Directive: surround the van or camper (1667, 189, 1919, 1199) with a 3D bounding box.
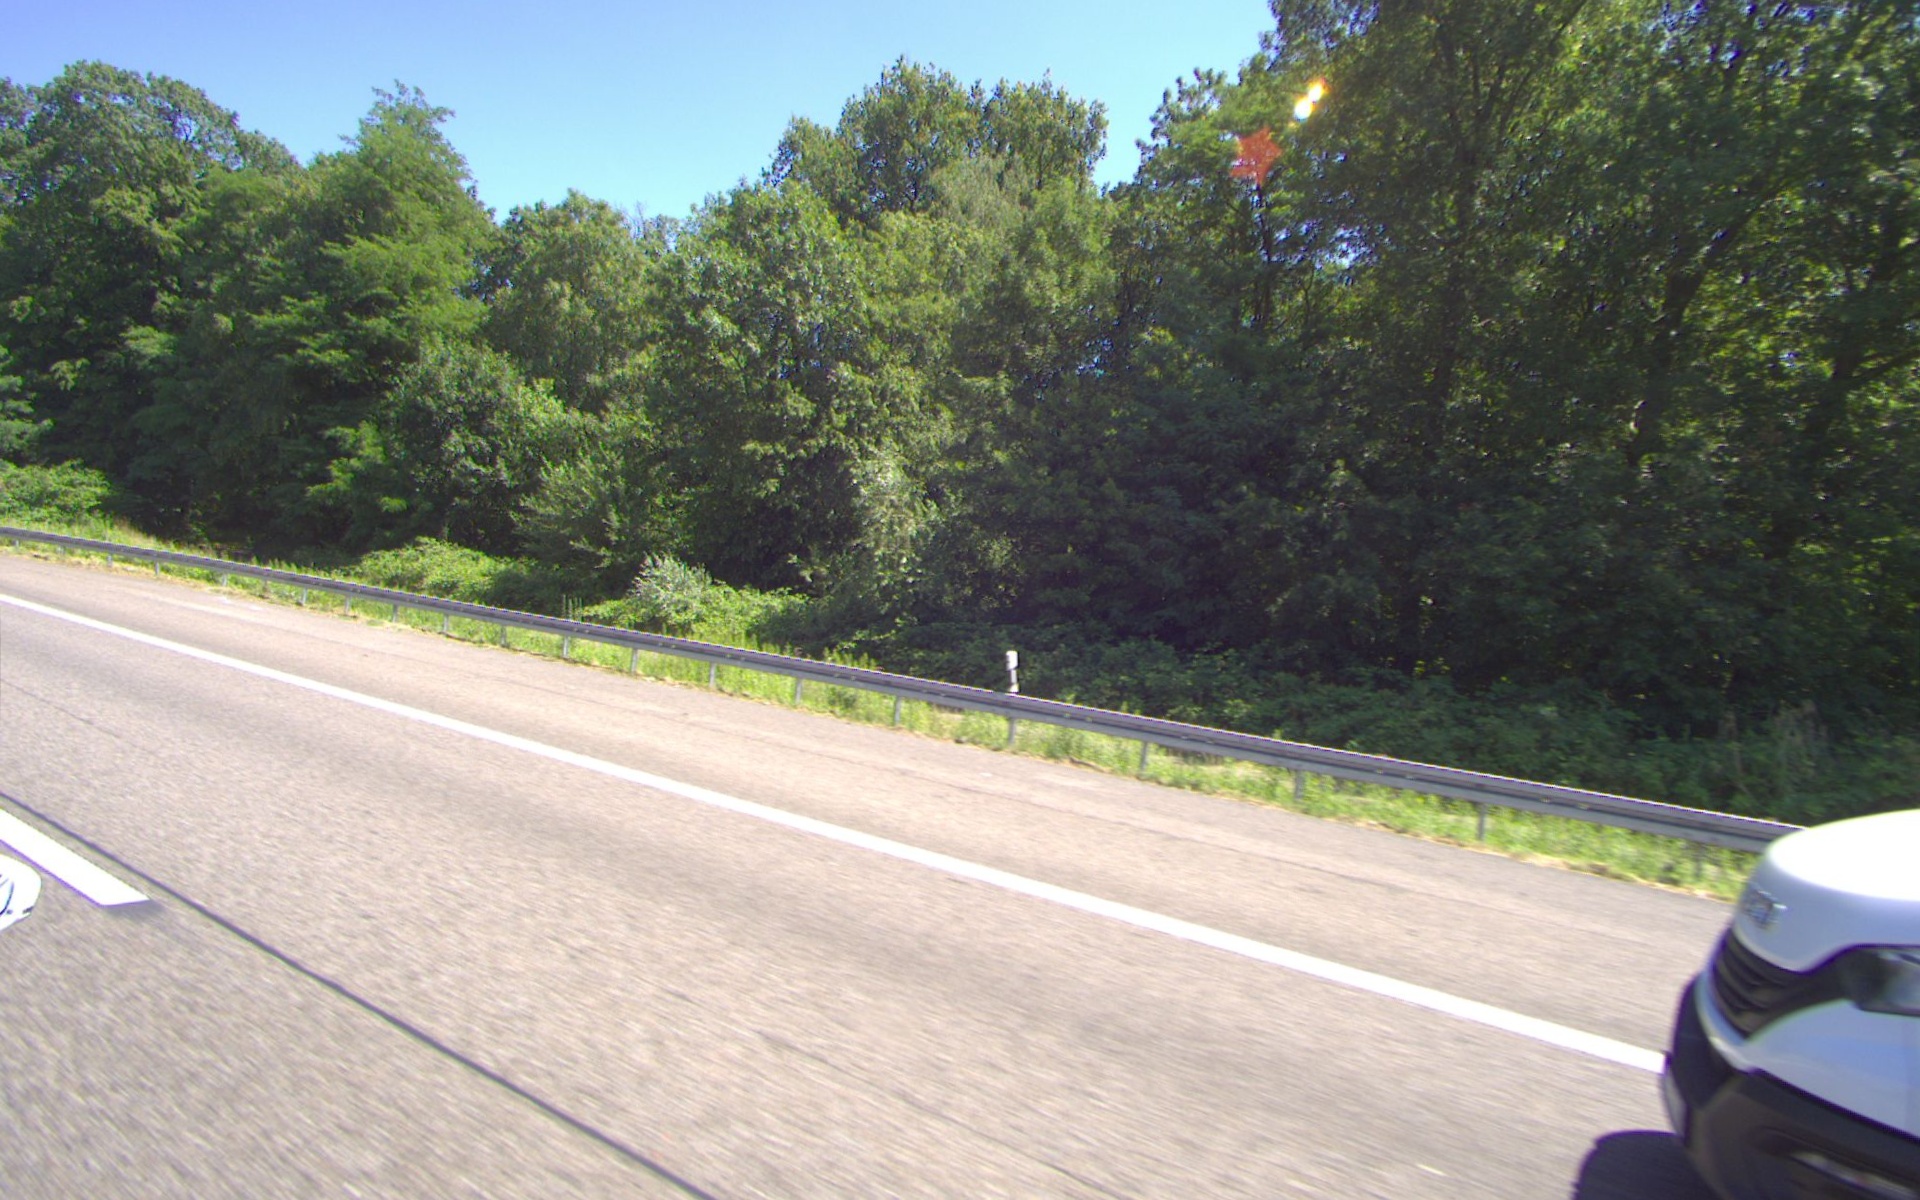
[{"bbox_3d":[5.130,0.828,1.419,6.379,2.668,2.026,7,-1,31],"label":"van or camper"}]
